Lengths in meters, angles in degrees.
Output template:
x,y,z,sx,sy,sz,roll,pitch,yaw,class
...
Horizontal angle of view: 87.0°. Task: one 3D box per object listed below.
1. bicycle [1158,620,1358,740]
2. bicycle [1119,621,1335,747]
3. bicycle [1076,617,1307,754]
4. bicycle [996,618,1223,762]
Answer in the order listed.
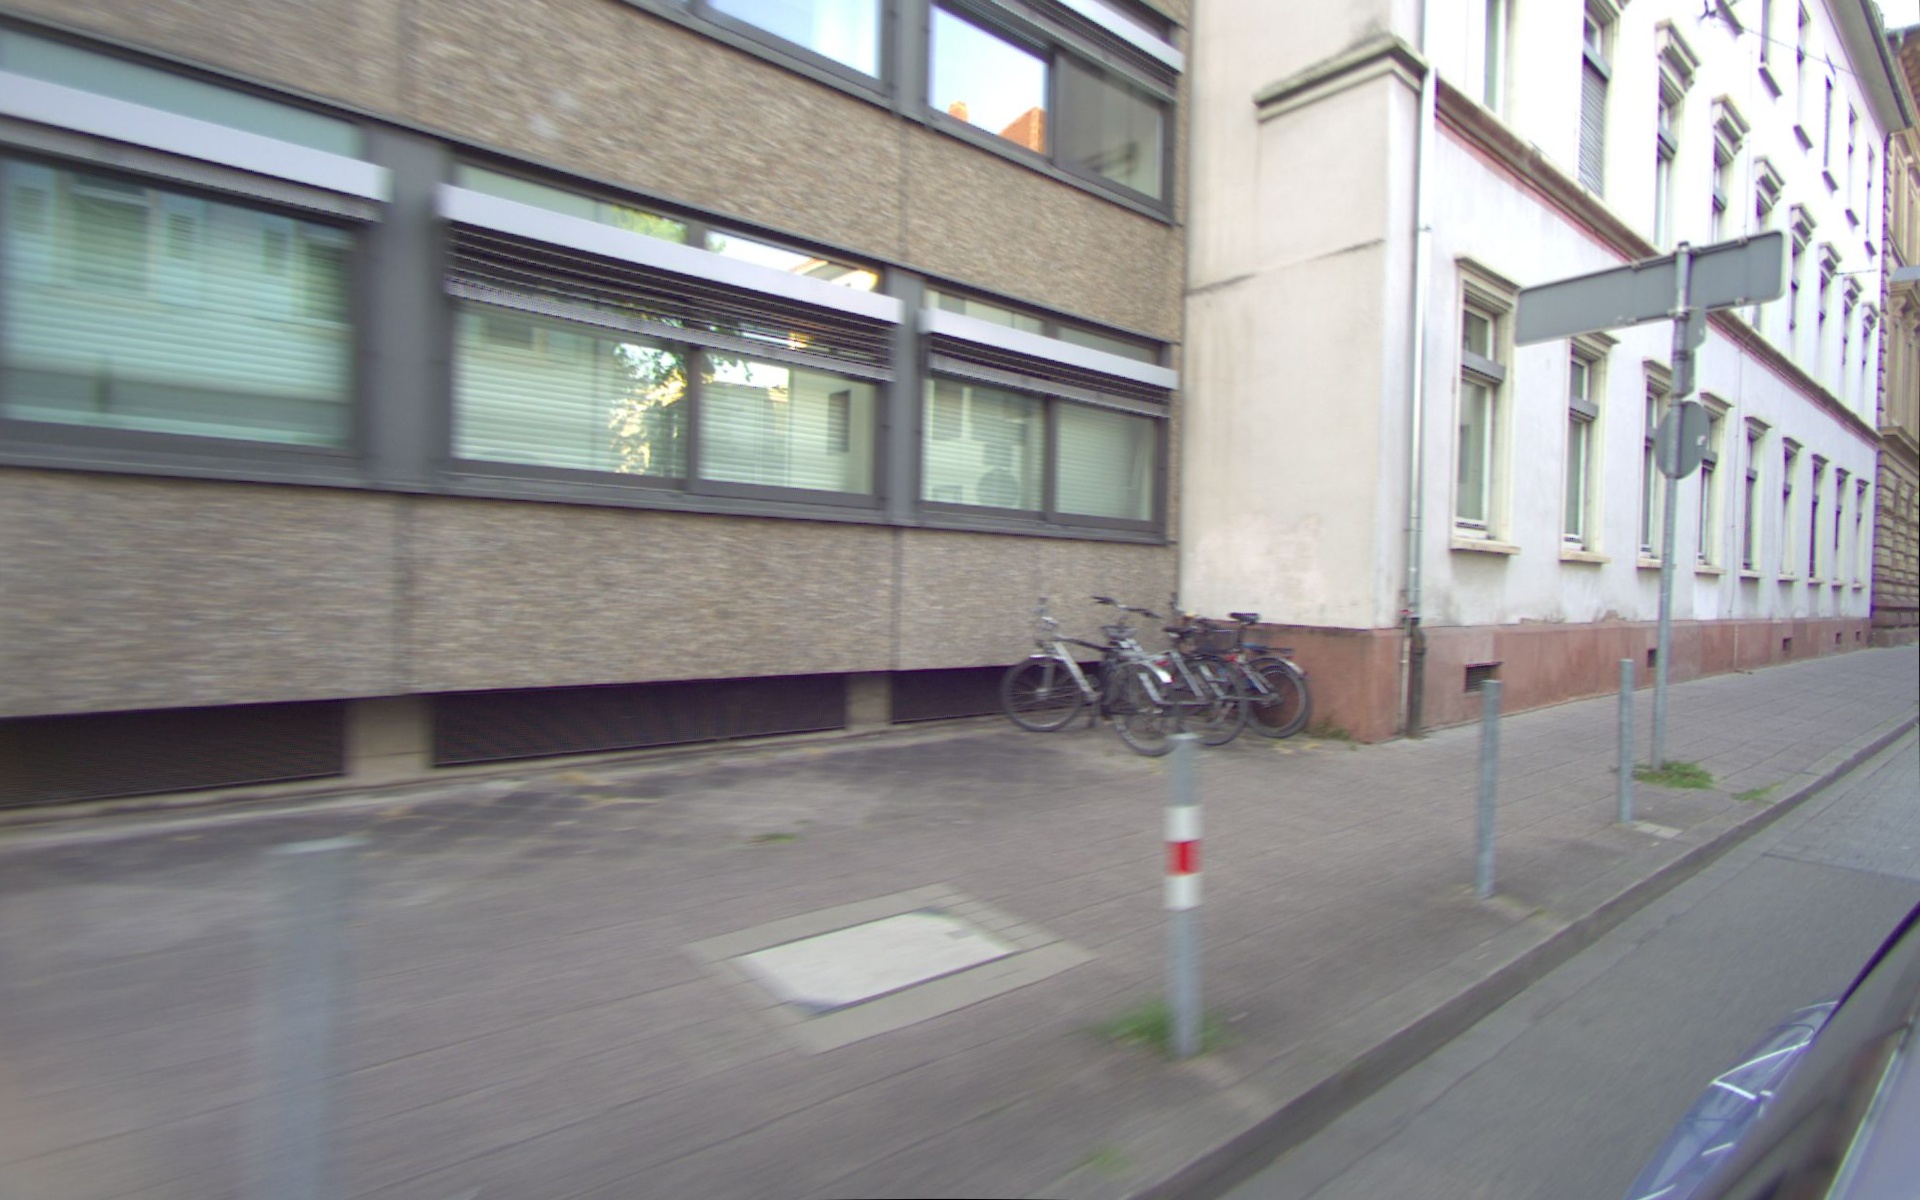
x,y,z,sx,sy,sz,roll,pitch,yaw,class
2.668,0.680,9.239,0.389,0.934,1.797,0,1,-44,bicycle
2.284,0.683,8.826,1.794,0.934,0.509,1,1,42,bicycle
1.832,0.639,8.210,1.794,0.934,0.530,1,1,42,bicycle
1.112,0.637,7.821,1.739,0.934,0.530,1,1,43,bicycle
